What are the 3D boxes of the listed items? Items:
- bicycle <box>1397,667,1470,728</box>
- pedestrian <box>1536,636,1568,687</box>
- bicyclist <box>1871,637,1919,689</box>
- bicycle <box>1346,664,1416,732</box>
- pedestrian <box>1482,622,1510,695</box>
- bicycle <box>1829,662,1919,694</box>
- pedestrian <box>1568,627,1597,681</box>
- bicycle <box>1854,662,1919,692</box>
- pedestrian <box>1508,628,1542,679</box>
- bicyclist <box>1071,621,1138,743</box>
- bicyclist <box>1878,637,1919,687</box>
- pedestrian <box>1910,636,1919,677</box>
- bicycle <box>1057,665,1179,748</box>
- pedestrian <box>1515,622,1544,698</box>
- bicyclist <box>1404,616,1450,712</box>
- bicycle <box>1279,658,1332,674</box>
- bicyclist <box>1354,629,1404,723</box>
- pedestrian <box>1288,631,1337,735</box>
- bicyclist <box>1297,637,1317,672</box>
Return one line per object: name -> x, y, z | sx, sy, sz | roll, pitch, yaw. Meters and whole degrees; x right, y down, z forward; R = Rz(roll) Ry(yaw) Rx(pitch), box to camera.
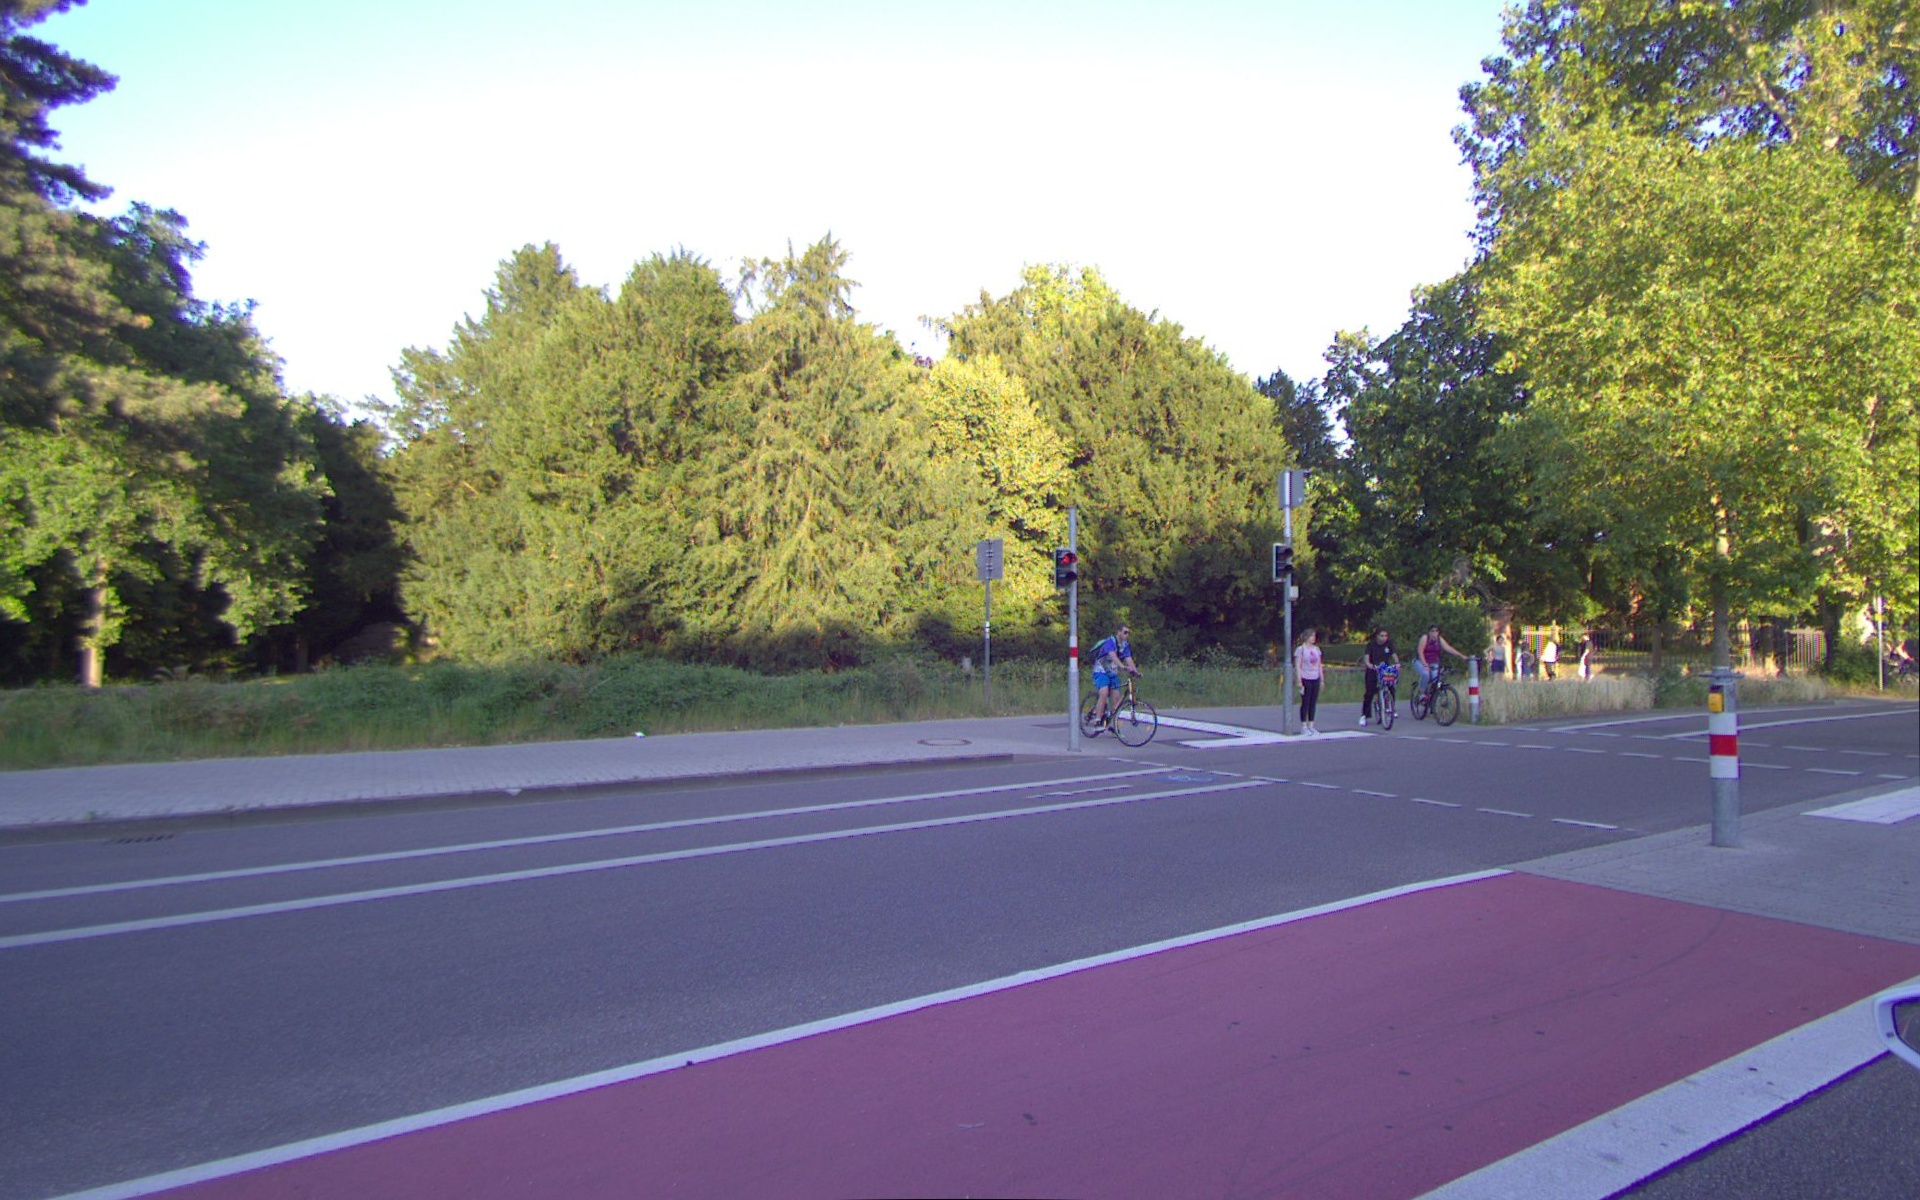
bicycle -> 8.877, 1.801, 18.900 | 0.568, 1.043, 1.772 | 0, -2, 1
pedestrian -> 23.844, 2.461, 40.466 | 1.066, 2.040, 0.755 | 1, -1, -35
bicyclist -> 30.288, 2.036, 32.549 | 0.743, 1.652, 0.954 | 1, -2, -29
bicycle -> 7.560, 1.744, 18.098 | 0.620, 1.126, 1.569 | 0, -2, 1
pedestrian -> 15.191, 1.652, 28.471 | 0.638, 2.040, 0.606 | 0, -1, 22
bicycle -> 30.103, 2.542, 32.868 | 0.765, 0.936, 2.420 | 1, -2, -28
pedestrian -> 23.953, 2.066, 38.663 | 0.691, 2.040, 0.639 | 1, -2, -21
bicycle -> 31.610, 2.569, 33.601 | 0.765, 0.936, 2.420 | 1, -2, -28
pedestrian -> 22.939, 2.155, 40.782 | 0.982, 2.040, 0.799 | 1, -1, -30
bicyclist -> 2.252, 1.255, 15.687 | 0.729, 1.848, 0.705 | 2, -1, -33
bicyclist -> 31.579, 2.076, 33.698 | 0.743, 1.652, 0.954 | 1, -2, -29
pedestrian -> 37.923, 2.223, 39.570 | 0.583, 1.617, 0.533 | 1, -2, -30
bicycle -> 2.403, 1.605, 15.557 | 0.763, 1.115, 2.107 | 1, -2, -28
pedestrian -> 15.631, 1.638, 27.592 | 0.584, 2.040, 0.642 | 0, -1, 20
bicyclist -> 8.895, 1.216, 19.158 | 0.564, 1.803, 0.640 | 0, -2, 1
bicycle -> 15.933, 3.041, 46.406 | 0.665, 0.700, 2.283 | 2, -3, -43
bicyclist -> 7.561, 1.354, 18.138 | 0.618, 1.671, 0.640 | 0, -2, 1
pedestrian -> 5.949, 1.378, 16.947 | 0.492, 1.718, 0.604 | 1, -2, -28
bicyclist -> 16.015, 2.497, 46.329 | 0.687, 1.579, 0.640 | 2, -2, -43
